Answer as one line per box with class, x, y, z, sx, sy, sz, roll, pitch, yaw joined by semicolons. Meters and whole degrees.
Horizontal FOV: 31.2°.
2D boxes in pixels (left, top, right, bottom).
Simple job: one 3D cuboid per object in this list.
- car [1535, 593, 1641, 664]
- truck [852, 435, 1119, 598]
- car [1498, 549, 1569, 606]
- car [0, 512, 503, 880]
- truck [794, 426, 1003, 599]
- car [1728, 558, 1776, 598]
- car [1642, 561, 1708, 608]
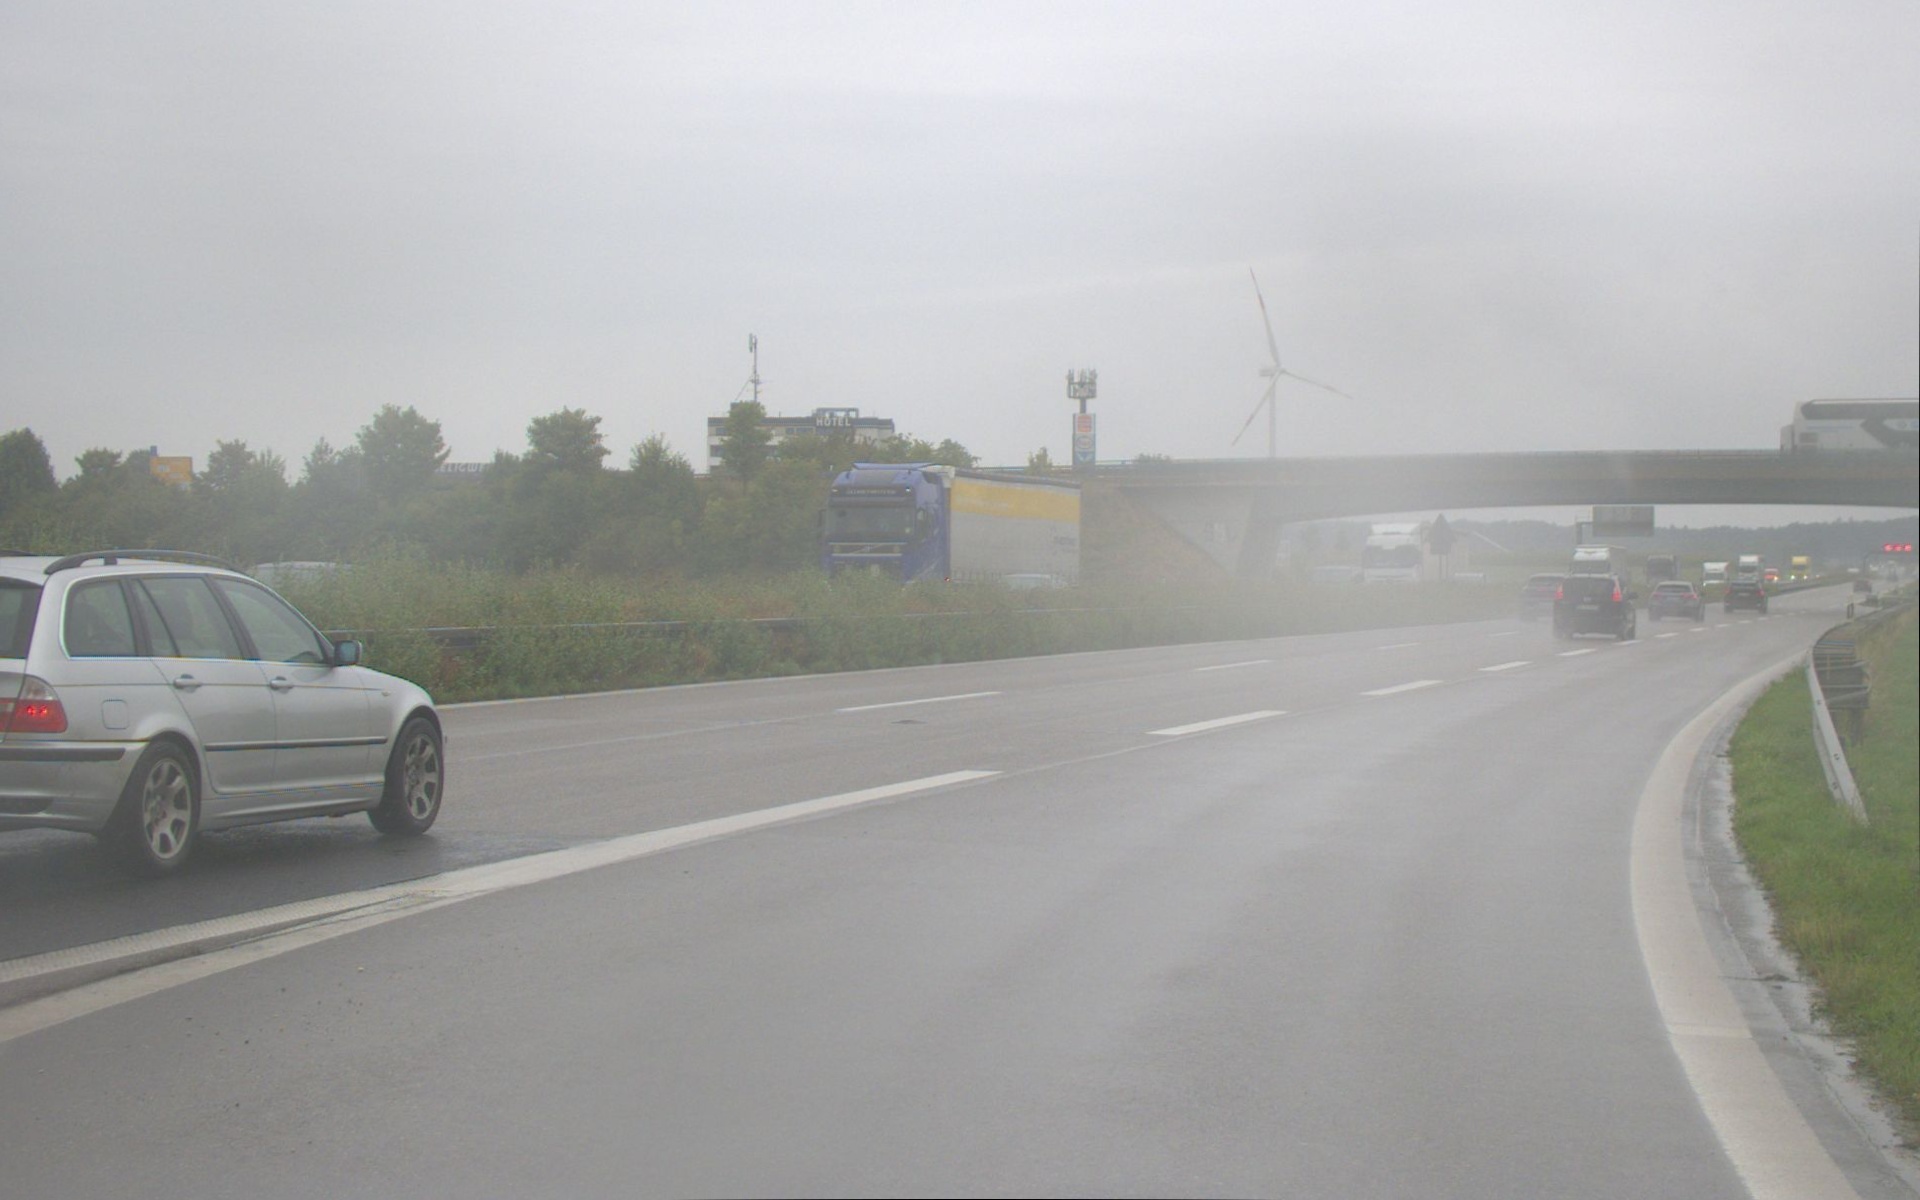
car;15.528;0.692;84.850;2.147;1.630;4.591;2;0;15
truck;0.953;-2.133;93.533;3.197;3.953;15.306;3;1;15
car;19.499;-0.786;116.779;1.995;1.744;3.998;-1;2;15
car;-3.967;0.376;16.419;1.875;1.483;4.793;1;0;14
truck;-1.441;-2.097;84.892;3.197;3.953;6.658;3;1;15
car;37.302;-1.038;161.915;1.995;1.691;3.998;-1;2;15
car;25.901;-0.558;124.478;2.054;1.630;4.346;2;0;15
